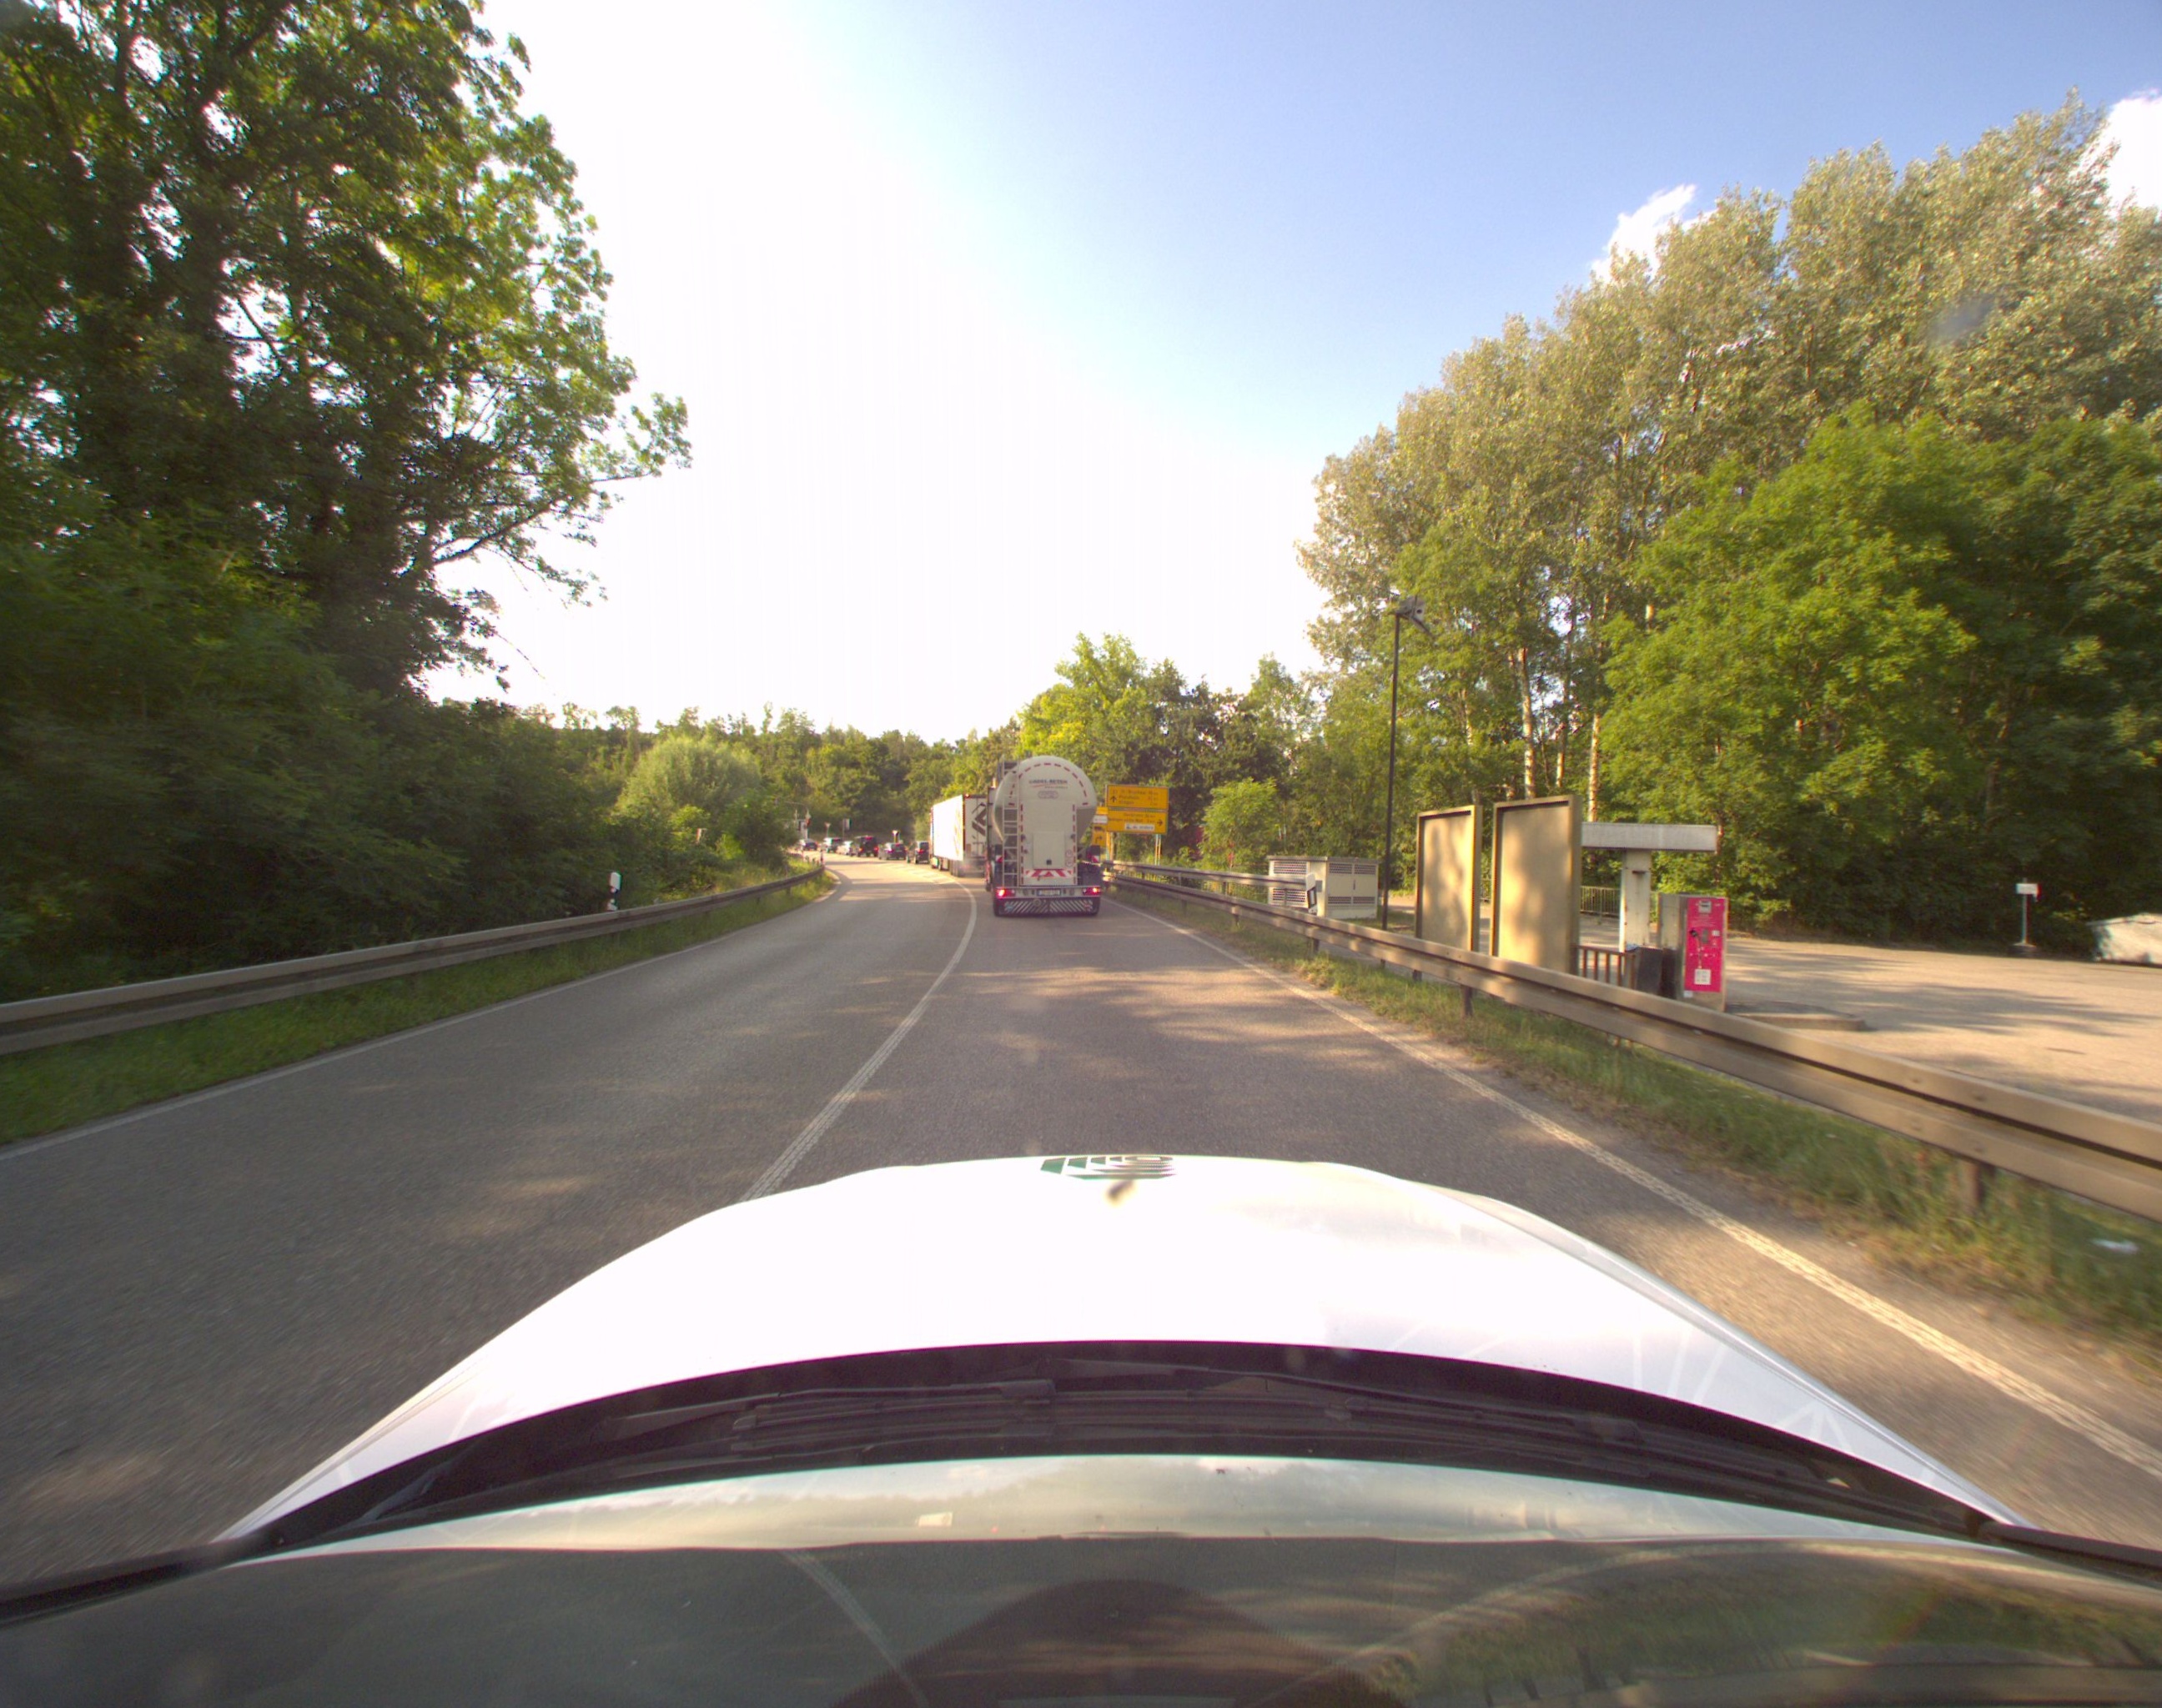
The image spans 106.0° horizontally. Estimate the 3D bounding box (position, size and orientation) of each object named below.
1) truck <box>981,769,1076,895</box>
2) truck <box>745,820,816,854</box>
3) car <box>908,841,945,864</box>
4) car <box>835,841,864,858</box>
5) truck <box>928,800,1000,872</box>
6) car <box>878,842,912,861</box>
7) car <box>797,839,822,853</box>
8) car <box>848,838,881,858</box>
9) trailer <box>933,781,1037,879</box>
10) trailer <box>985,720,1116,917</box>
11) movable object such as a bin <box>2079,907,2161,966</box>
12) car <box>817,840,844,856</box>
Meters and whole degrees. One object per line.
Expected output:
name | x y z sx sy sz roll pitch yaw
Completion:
truck | -2.034 -0.713 29.223 2.824 4.034 5.875 0 0 -10
truck | -43.958 -2.465 119.581 2.984 4.585 10.303 2 0 29
car | -11.578 -0.091 60.840 1.876 1.628 3.968 1 0 -24
car | -23.998 -0.462 84.403 1.880 1.683 3.960 2 0 -32
truck | -7.328 -1.047 50.230 3.458 4.086 6.455 1 0 -16
car | -15.928 -0.245 69.650 1.878 1.564 3.964 -2 1 -28
car | -32.461 -0.942 97.398 1.880 1.565 3.959 2 0 -33
car | -20.650 -0.621 77.676 1.970 1.851 3.960 -2 2 -32
trailer | -5.596 -1.137 44.212 3.553 4.513 12.914 1 0 -16
trailer | -1.240 -0.834 23.369 2.884 4.454 9.580 0 0 -8
movable object such as a bin | 29.064 2.265 21.874 1.264 1.420 2.552 4 0 -5
car | -27.777 -0.695 90.082 1.880 1.595 3.960 2 0 -32
